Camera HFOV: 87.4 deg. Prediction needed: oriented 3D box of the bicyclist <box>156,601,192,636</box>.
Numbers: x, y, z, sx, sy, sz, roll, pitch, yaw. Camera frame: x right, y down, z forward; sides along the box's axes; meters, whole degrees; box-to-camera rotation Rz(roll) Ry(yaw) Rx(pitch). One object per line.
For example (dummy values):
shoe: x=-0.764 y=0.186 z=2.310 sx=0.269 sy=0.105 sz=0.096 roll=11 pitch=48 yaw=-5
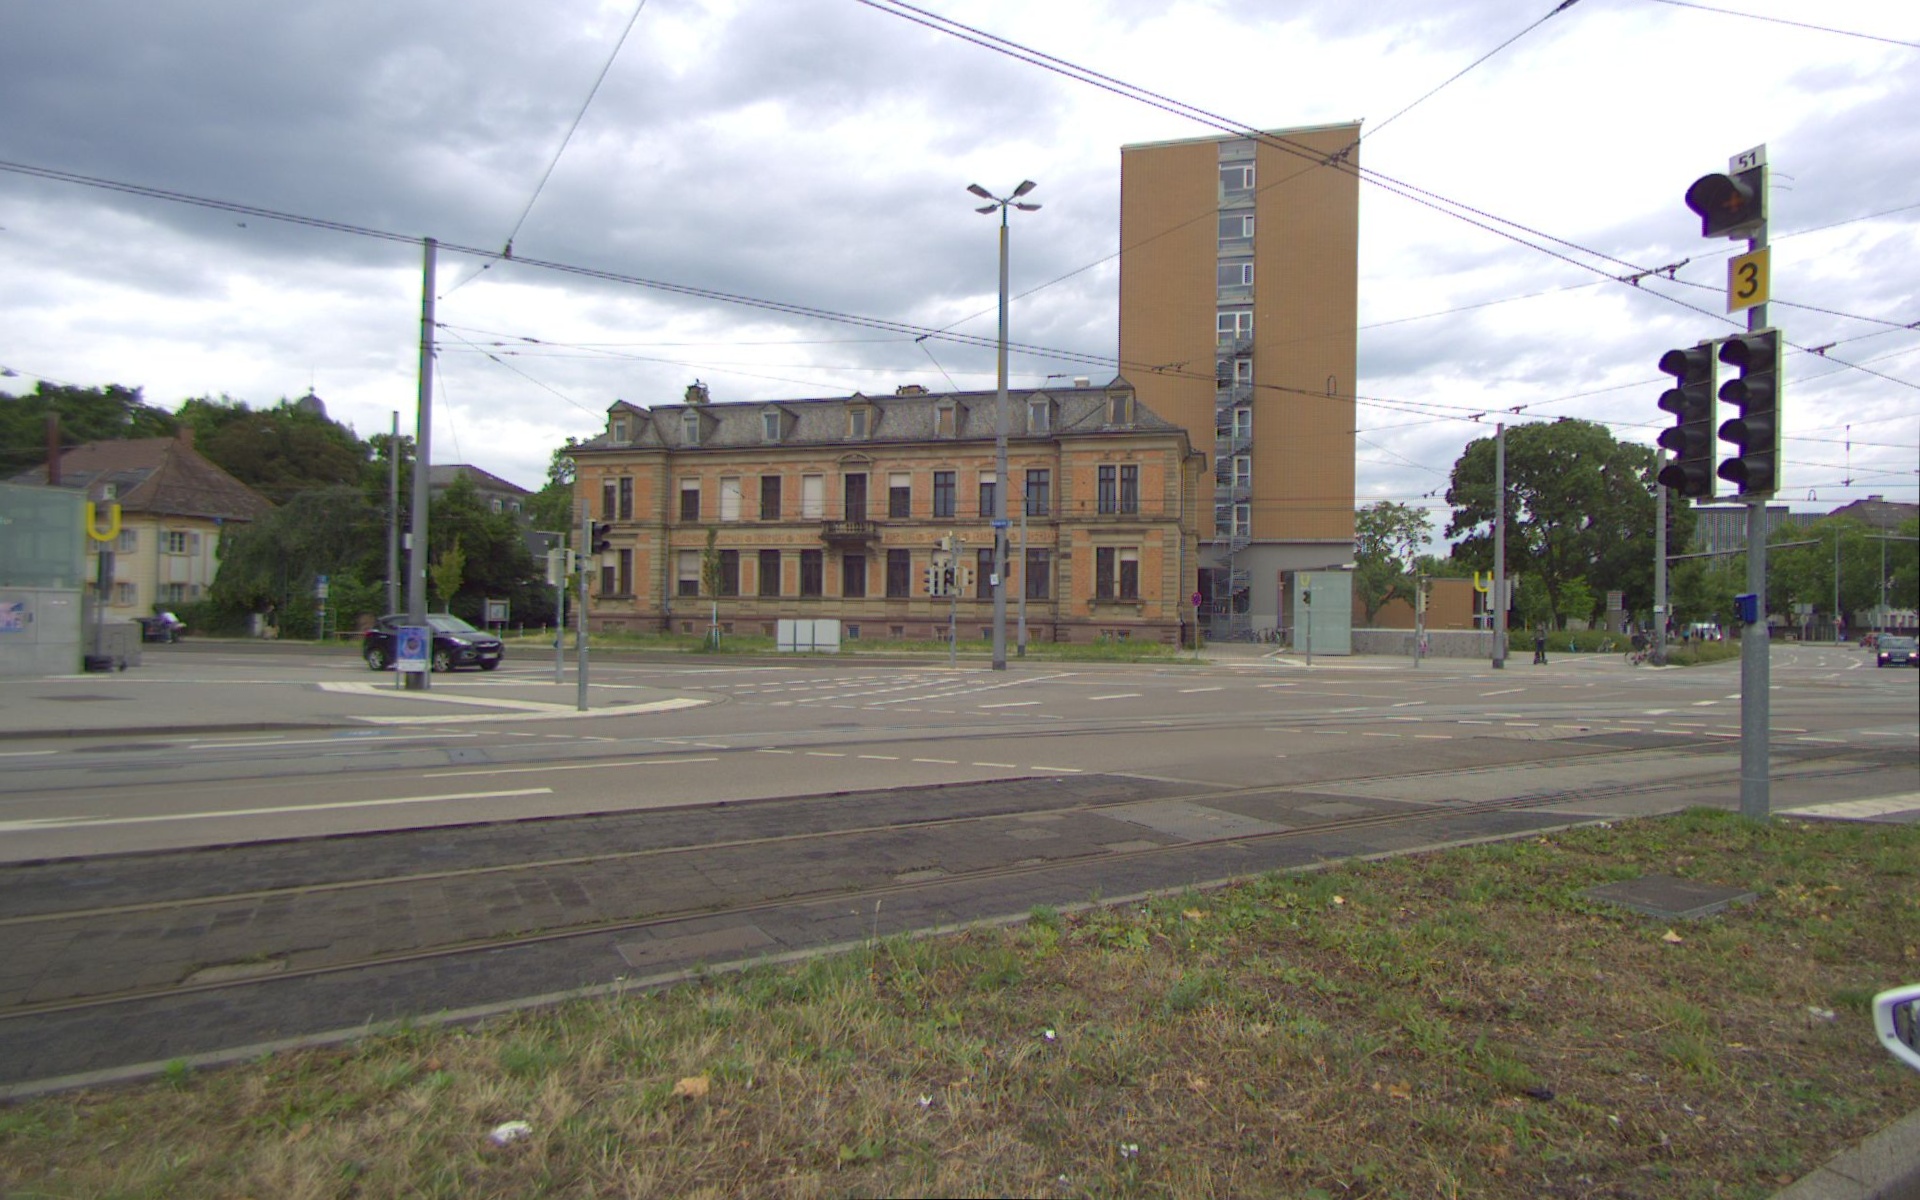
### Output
bicyclist: x=-41.274 y=0.957 z=52.744 sx=0.996 sy=1.806 sz=1.093 roll=1 pitch=-1 yaw=17

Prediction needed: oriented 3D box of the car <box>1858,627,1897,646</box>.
car: x=92.566 y=3.670 z=101.392 sx=1.963 sy=1.795 sz=3.995 roll=0 pitch=-1 yaw=27

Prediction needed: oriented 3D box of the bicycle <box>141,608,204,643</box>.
bicycle: x=-41.371 y=1.350 z=52.762 sx=3.024 sy=1.773 sz=1.086 roll=0 pitch=-1 yaw=18

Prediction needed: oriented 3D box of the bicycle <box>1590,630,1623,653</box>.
bicycle: x=43.700 y=2.801 z=67.868 sx=2.223 sy=1.468 sz=0.844 roll=1 pitch=-1 yaw=-25

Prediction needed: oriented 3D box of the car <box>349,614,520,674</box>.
car: x=-15.518 y=1.273 z=29.744 sx=4.159 sy=1.632 sz=2.001 roll=1 pitch=-1 yaw=14

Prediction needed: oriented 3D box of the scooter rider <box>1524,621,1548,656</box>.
scooter rider: x=27.388 y=1.833 z=47.769 sx=0.807 sy=1.649 sz=0.568 roll=1 pitch=-1 yaw=-9

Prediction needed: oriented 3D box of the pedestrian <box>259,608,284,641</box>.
pedestrian: x=-38.445 y=1.369 z=56.097 sx=0.832 sy=1.857 sz=0.810 roll=1 pitch=-1 yaw=13

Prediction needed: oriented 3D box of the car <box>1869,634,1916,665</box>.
car: x=47.377 y=2.488 z=51.093 sx=1.600 sy=1.535 sz=3.646 roll=-1 pitch=-2 yaw=41

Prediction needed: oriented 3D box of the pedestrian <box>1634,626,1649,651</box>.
pedestrian: x=48.523 y=2.763 z=71.546 sx=0.681 sy=1.757 sz=0.739 roll=1 pitch=-1 yaw=-44

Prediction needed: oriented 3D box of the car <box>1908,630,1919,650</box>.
car: x=85.616 y=3.543 z=88.711 sx=1.965 sy=1.661 sz=3.991 roll=0 pitch=-1 yaw=32

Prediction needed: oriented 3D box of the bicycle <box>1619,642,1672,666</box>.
bicycle: x=34.563 y=2.719 z=50.666 sx=2.089 sy=1.042 sz=0.791 roll=1 pitch=1 yaw=42

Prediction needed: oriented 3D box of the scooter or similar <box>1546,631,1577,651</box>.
scooter or similar: x=40.615 y=2.749 z=67.846 sx=1.744 sy=1.319 sz=0.629 roll=0 pitch=-1 yaw=29

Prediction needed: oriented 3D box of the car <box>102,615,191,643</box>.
car: x=-44.844 y=1.595 z=55.390 sx=3.920 sy=1.450 sz=2.001 roll=0 pitch=-1 yaw=18

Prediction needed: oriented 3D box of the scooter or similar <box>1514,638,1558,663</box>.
scooter or similar: x=27.386 y=2.397 z=47.760 sx=1.872 sy=1.180 sz=0.573 roll=1 pitch=-1 yaw=-9

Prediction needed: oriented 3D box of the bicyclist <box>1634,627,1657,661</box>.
bicyclist: x=34.569 y=2.206 z=50.665 sx=0.804 sy=1.678 sz=0.789 roll=-3 pitch=-2 yaw=42
